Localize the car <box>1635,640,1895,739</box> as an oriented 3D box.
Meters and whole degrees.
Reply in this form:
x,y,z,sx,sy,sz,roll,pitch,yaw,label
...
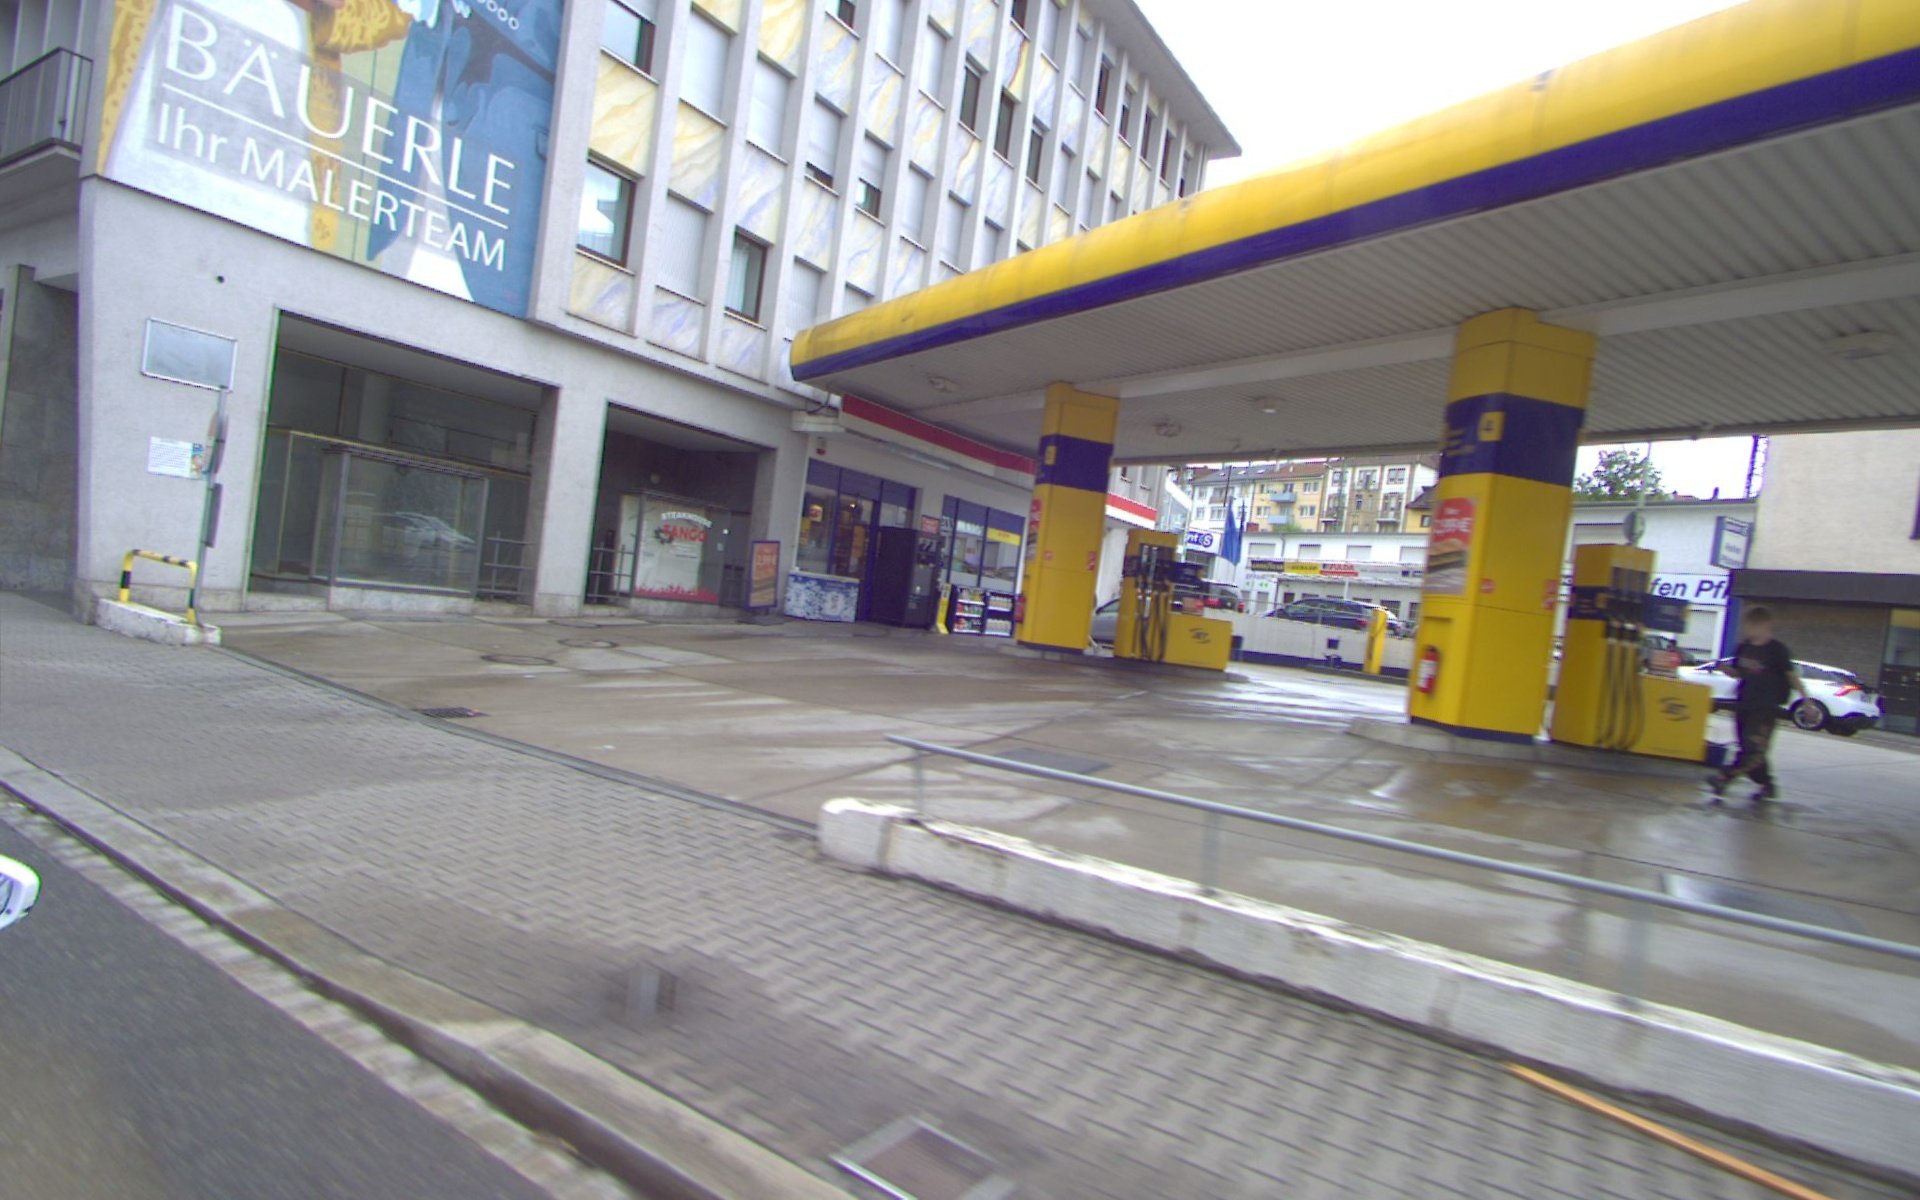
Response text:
x,y,z,sx,sy,sz,roll,pitch,yaw,label
18.330,1.996,23.123,1.788,1.495,4.176,10,-1,-29,car

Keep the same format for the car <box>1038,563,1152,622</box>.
x,y,z,sx,sy,sz,roll,pitch,yaw,label
5.215,-0.335,39.478,1.978,1.886,4.548,8,-1,-28,car

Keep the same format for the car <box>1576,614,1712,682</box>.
x,y,z,sx,sy,sz,roll,pitch,yaw,label
22.791,1.602,33.515,3.955,1.659,1.986,9,-1,-28,car

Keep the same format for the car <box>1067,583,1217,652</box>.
x,y,z,sx,sy,sz,roll,pitch,yaw,label
4.786,0.420,27.201,1.971,1.534,4.400,5,0,-19,car

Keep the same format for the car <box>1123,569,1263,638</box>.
x,y,z,sx,sy,sz,roll,pitch,yaw,label
7.835,0.072,34.327,1.978,1.886,4.548,8,-1,-28,car

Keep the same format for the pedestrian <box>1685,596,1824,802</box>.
x,y,z,sx,sy,sz,roll,pitch,yaw,label
7.305,0.889,9.281,0.521,1.796,0.658,4,3,-9,pedestrian

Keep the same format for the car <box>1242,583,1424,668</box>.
x,y,z,sx,sy,sz,roll,pitch,yaw,label
10.532,0.669,28.763,1.978,1.886,4.548,8,-1,-28,car

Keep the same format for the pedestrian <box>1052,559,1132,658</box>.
x,y,z,sx,sy,sz,roll,pitch,yaw,label
2.624,0.171,19.992,1.268,1.821,0.653,6,2,22,pedestrian

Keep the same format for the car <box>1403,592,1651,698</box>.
x,y,z,sx,sy,sz,roll,pitch,yaw,label
13.096,0.977,23.573,1.978,1.886,4.548,8,-1,-28,car
